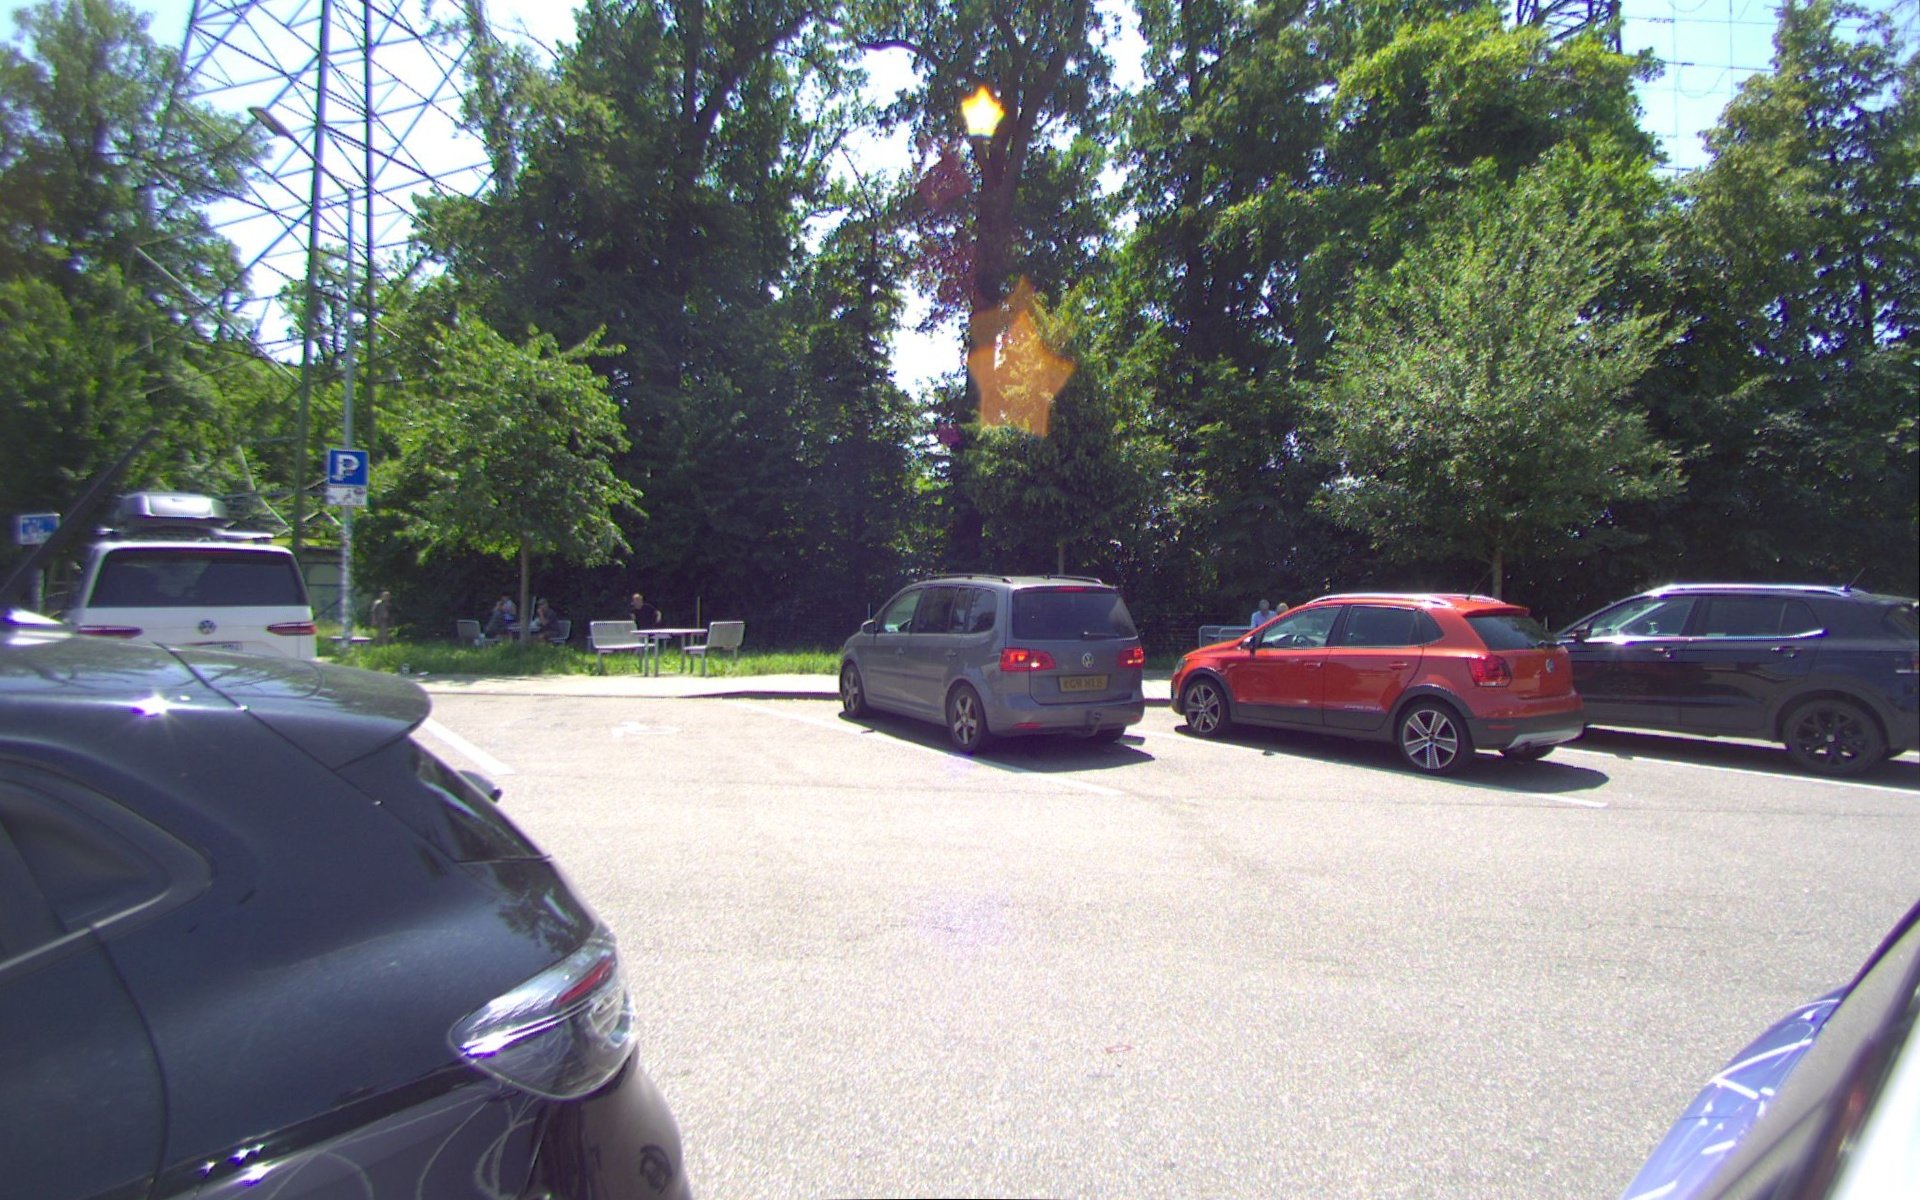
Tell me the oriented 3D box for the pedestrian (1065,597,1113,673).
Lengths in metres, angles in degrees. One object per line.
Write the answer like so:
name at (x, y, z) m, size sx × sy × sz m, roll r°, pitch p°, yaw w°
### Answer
pedestrian at (2.140, 0.577, 16.825) m, size 0.660 × 1.235 × 0.682 m, roll 1°, pitch -2°, yaw -5°

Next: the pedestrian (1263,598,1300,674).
pedestrian at (5.678, 0.633, 17.888) m, size 0.495 × 1.316 × 0.491 m, roll 1°, pitch -1°, yaw 0°

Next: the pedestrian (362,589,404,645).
pedestrian at (-14.654, 0.416, 25.725) m, size 0.601 × 1.391 × 0.702 m, roll 0°, pitch -1°, yaw 27°

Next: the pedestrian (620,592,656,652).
pedestrian at (-6.759, 0.451, 21.271) m, size 0.550 × 1.229 × 0.599 m, roll 1°, pitch -1°, yaw -1°

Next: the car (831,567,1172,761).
car at (0.214, 0.495, 10.546) m, size 1.717 × 1.611 × 3.961 m, roll 0°, pitch 1°, yaw -30°

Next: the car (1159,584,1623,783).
car at (3.851, 0.601, 9.643) m, size 1.604 × 1.476 × 3.810 m, roll 0°, pitch 1°, yaw -34°

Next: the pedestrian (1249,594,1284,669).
pedestrian at (5.759, 0.583, 19.012) m, size 0.495 × 1.393 × 0.491 m, roll 1°, pitch -1°, yaw 0°

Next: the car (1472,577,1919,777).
car at (7.229, 0.573, 9.667) m, size 1.727 × 1.566 × 3.806 m, roll 0°, pitch 1°, yaw -39°

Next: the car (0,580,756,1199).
car at (-2.137, 0.715, 0.579) m, size 1.615 × 1.503 × 3.706 m, roll 0°, pitch -1°, yaw 44°

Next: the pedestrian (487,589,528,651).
pedestrian at (-10.956, 0.476, 24.506) m, size 0.722 × 1.478 × 0.669 m, roll 1°, pitch -1°, yaw -39°

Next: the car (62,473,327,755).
car at (-8.075, 0.081, 10.618) m, size 1.885 × 2.353 × 4.089 m, roll 0°, pitch 1°, yaw -40°

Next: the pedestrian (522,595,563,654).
pedestrian at (-9.724, 0.569, 23.569) m, size 0.722 × 1.343 × 0.669 m, roll 1°, pitch -1°, yaw -39°

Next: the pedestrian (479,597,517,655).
pedestrian at (-10.444, 0.584, 22.872) m, size 0.630 × 1.287 × 0.579 m, roll 1°, pitch -1°, yaw -39°
